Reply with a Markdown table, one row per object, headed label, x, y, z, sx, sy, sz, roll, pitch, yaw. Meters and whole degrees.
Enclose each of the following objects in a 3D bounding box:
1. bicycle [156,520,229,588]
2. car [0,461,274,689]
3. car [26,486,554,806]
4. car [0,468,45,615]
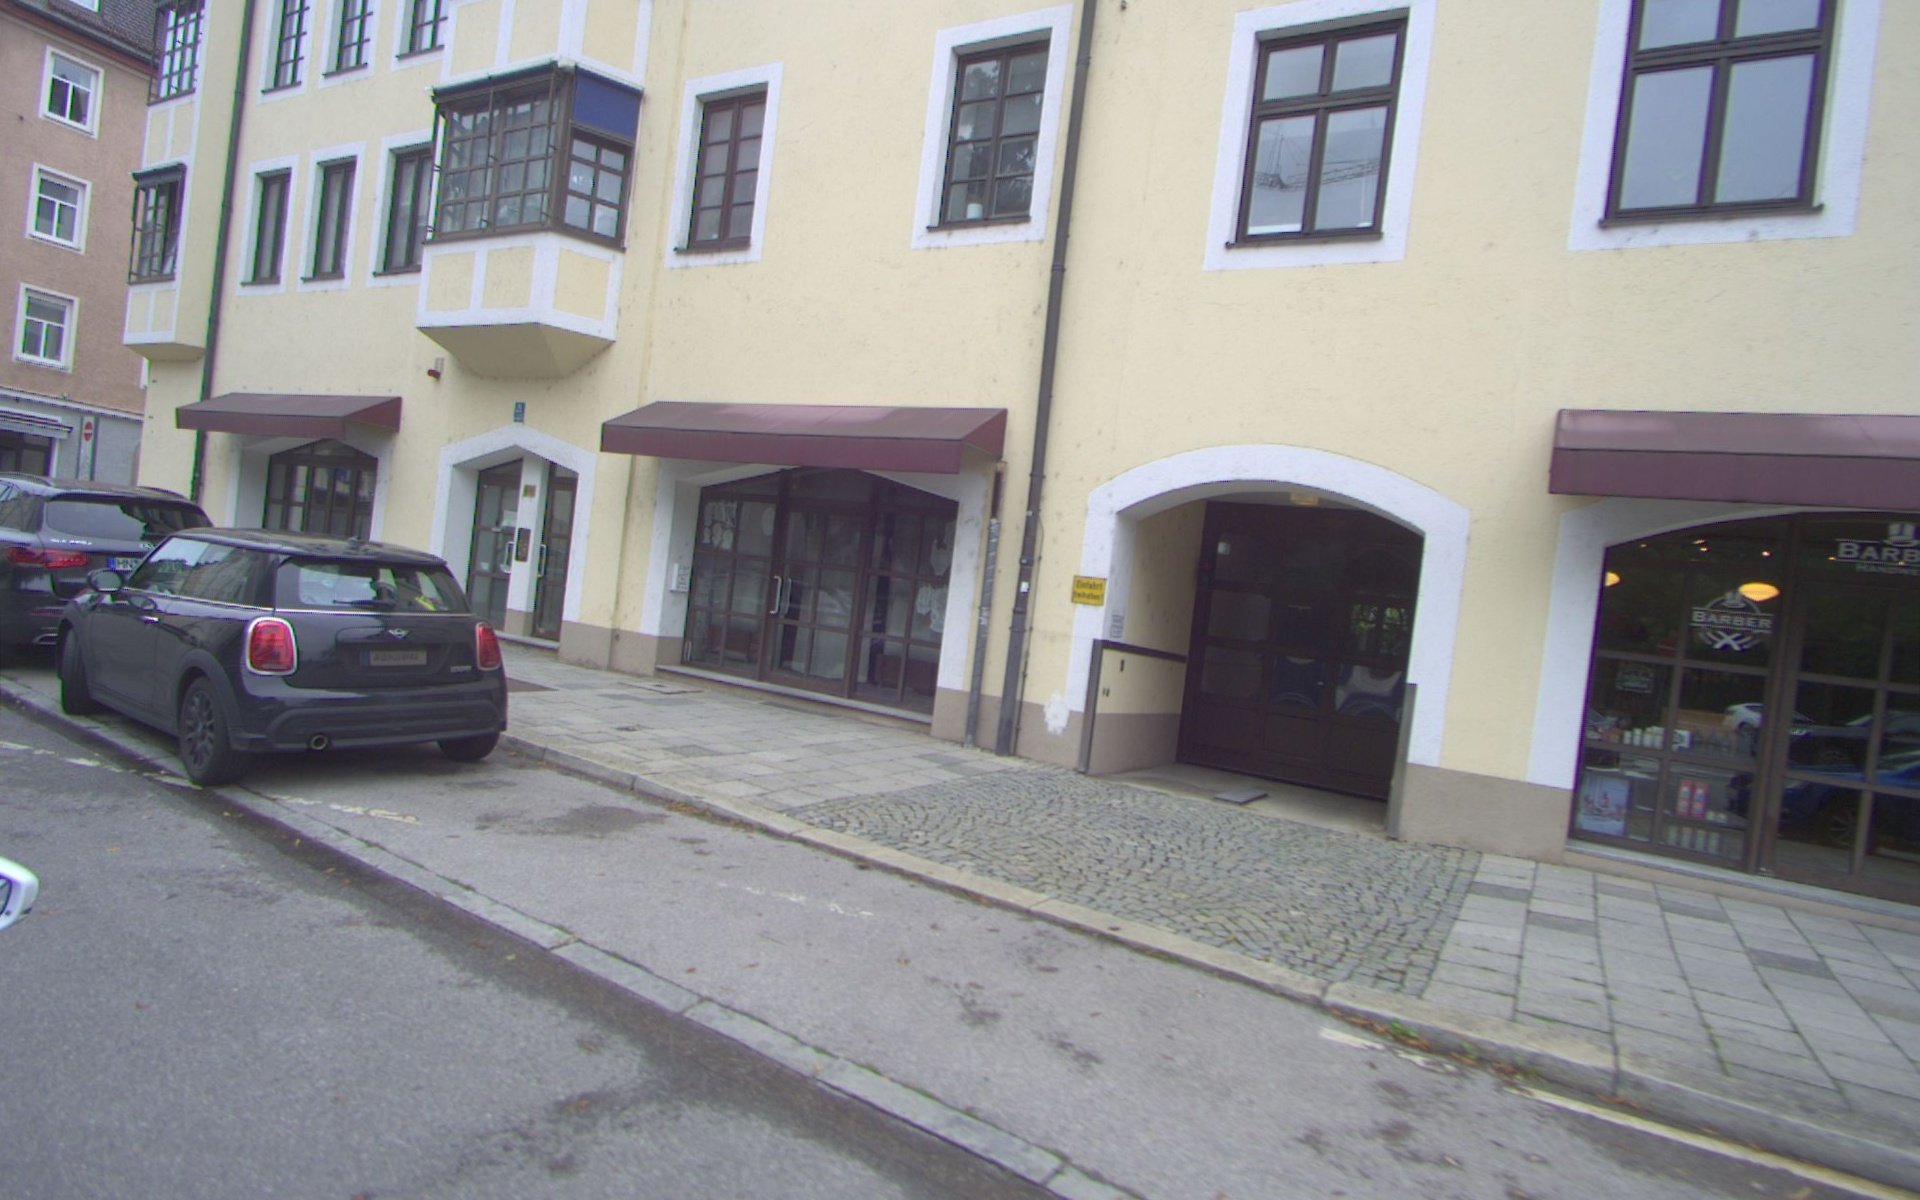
| label | x | y | z | sx | sy | sz | roll | pitch | yaw |
| --- | --- | --- | --- | --- | --- | --- | --- | --- | --- |
| bicycle | -13.107 | -0.789 | 17.163 | 1.656 | 0.989 | 0.271 | 7 | 0 | 29 |
| car | -8.598 | -0.384 | 9.496 | 4.629 | 1.701 | 1.757 | 7 | 2 | 32 |
| car | -4.749 | 0.161 | 6.971 | 3.762 | 1.516 | 1.756 | 7 | 2 | 35 |
| car | -13.309 | -0.938 | 12.315 | 4.434 | 1.701 | 1.820 | 7 | 2 | 30 |
